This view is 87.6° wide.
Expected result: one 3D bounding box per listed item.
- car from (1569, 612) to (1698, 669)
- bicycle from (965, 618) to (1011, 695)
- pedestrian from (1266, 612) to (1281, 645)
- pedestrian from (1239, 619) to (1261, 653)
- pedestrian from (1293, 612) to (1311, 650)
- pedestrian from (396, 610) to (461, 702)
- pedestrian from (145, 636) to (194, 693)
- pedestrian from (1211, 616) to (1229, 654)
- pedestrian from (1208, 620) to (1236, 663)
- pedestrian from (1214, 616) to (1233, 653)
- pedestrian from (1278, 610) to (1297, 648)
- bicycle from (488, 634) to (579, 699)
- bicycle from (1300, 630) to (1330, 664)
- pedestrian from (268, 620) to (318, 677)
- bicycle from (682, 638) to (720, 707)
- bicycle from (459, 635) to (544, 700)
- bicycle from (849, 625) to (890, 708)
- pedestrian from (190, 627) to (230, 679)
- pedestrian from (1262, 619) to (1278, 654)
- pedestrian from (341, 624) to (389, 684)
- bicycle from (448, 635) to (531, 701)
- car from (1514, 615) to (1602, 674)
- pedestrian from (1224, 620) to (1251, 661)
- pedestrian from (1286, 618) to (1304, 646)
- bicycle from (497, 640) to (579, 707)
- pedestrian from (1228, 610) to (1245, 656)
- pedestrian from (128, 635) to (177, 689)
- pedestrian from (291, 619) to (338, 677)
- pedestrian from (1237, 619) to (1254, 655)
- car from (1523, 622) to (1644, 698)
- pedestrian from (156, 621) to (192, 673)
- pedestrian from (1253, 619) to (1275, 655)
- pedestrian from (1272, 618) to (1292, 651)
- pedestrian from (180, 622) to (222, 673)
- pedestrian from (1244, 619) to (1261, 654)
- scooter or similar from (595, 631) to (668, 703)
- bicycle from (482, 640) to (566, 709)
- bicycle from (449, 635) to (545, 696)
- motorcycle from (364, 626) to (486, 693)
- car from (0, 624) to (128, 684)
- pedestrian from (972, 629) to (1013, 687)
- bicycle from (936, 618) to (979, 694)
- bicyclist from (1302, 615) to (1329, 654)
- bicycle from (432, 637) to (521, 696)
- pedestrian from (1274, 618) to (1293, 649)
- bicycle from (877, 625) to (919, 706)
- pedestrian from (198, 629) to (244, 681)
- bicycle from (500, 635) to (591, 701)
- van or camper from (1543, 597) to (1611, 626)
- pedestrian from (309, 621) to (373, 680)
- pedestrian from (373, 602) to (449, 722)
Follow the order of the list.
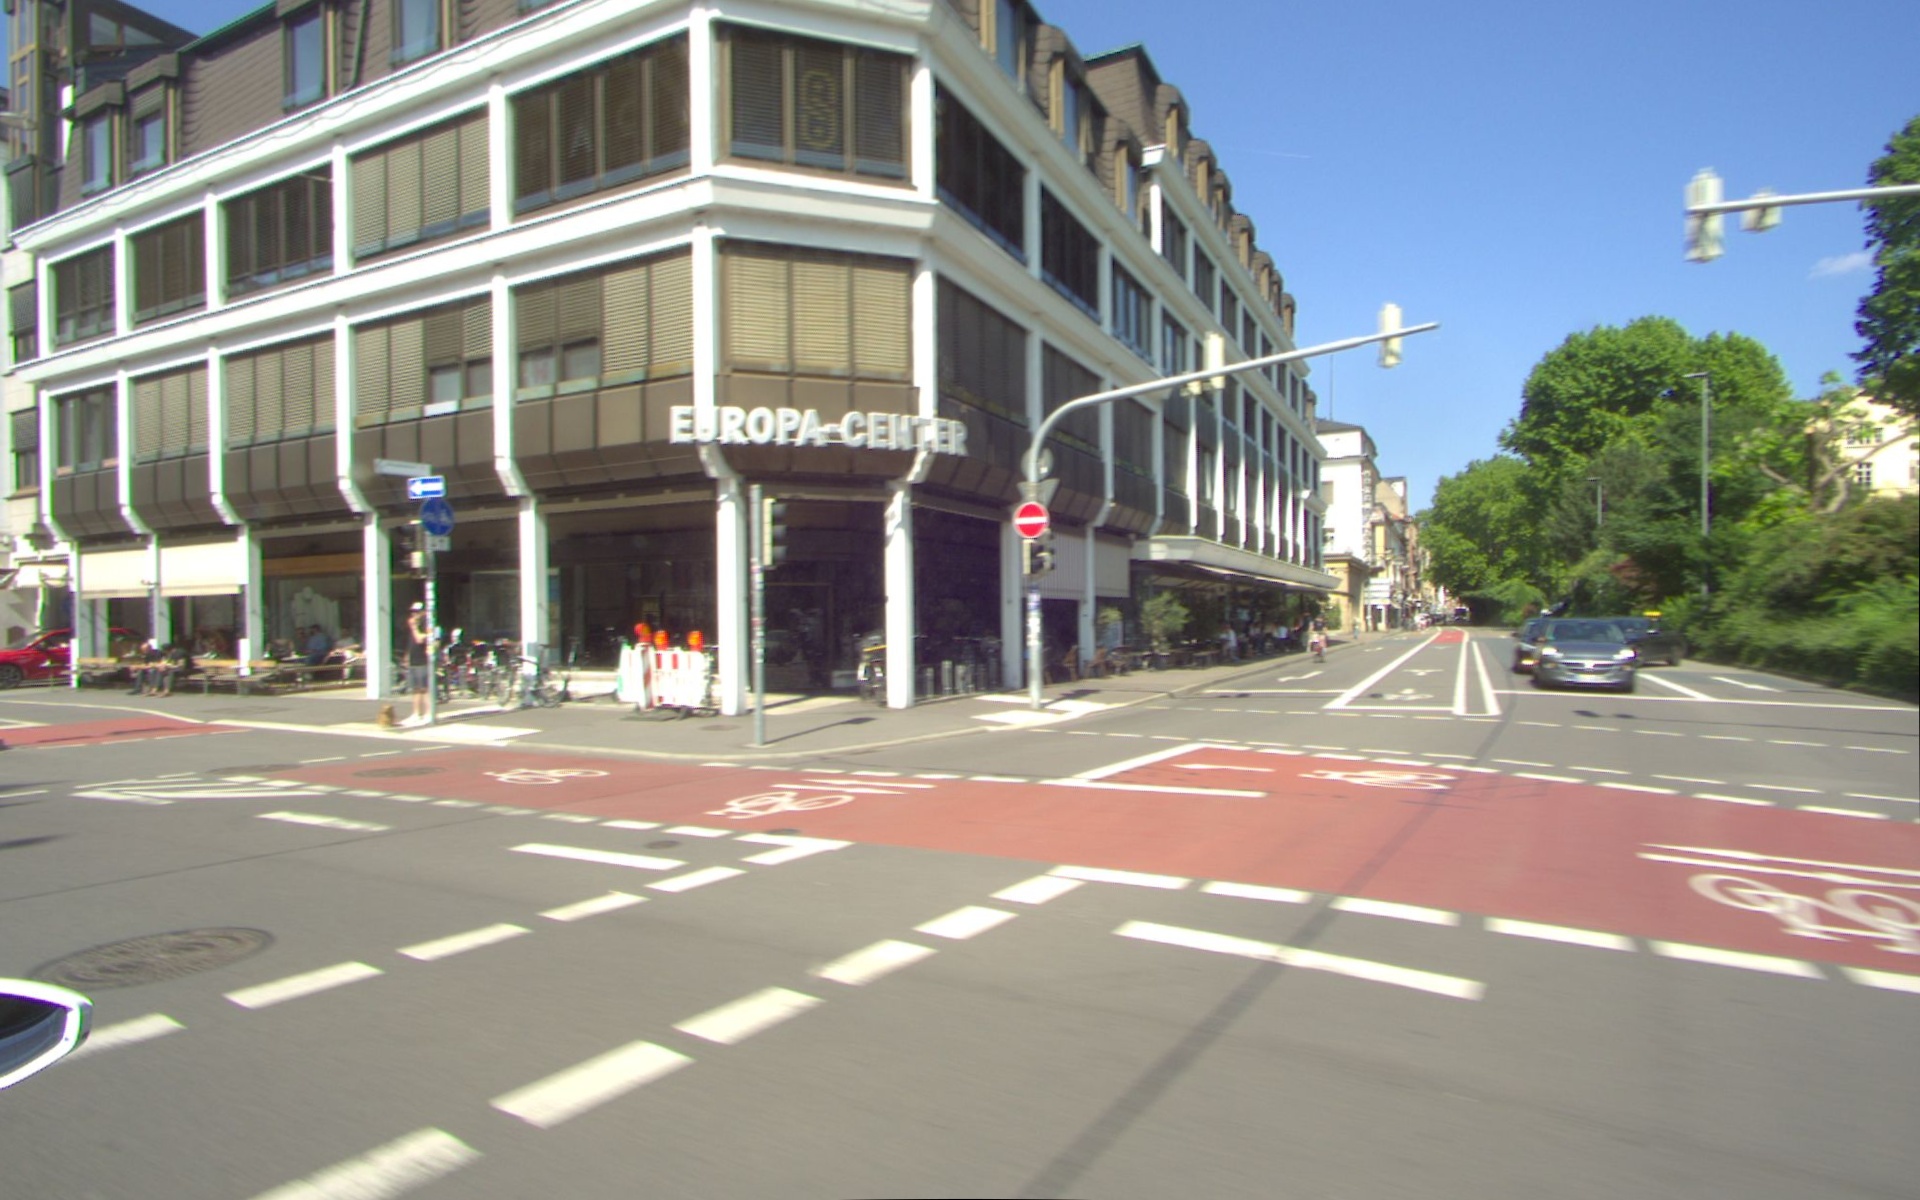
[{"bbox_3d":[20.376,1.201,30.237,4.694,1.604,2.047,1,-2,-40],"label":"car"},{"bbox_3d":[0.543,1.094,20.137,0.521,1.441,1.965,0,0,-11],"label":"bicycle"},{"bbox_3d":[15.756,1.436,50.341,0.611,1.667,0.714,-1,0,27],"label":"pedestrian"},{"bbox_3d":[12.228,1.521,42.236,0.746,1.411,0.714,-1,-1,27],"label":"pedestrian"},{"bbox_3d":[14.900,1.361,43.586,0.607,1.633,0.870,-1,-1,27],"label":"pedestrian"},{"bbox_3d":[-10.036,1.050,18.910,0.688,1.684,0.830,-2,-1,36],"label":"pedestrian"},{"bbox_3d":[-17.873,1.449,22.646,0.688,1.232,0.709,-2,-1,36],"label":"pedestrian"},{"bbox_3d":[9.760,1.291,37.570,0.564,1.411,0.567,-1,0,27],"label":"pedestrian"},{"bbox_3d":[8.757,1.385,33.453,0.746,1.411,0.925,-1,-1,27],"label":"pedestrian"},{"bbox_3d":[10.043,1.321,38.164,0.564,1.411,0.567,-1,0,27],"label":"pedestrian"},{"bbox_3d":[15.399,1.361,47.047,0.746,1.751,0.795,-1,0,27],"label":"pedestrian"},{"bbox_3d":[-8.210,1.261,19.333,0.274,1.135,1.712,0,1,34],"label":"bicycle"},{"bbox_3d":[12.651,1.646,35.643,0.752,1.135,2.115,-2,-1,26],"label":"bicycle"},{"bbox_3d":[-16.871,1.221,25.337,0.685,1.414,0.813,-2,-1,26],"label":"pedestrian"},{"bbox_3d":[-4.469,1.224,17.248,0.304,1.079,1.465,-2,1,-26],"label":"bicycle"},{"bbox_3d":[-8.812,1.283,19.303,0.274,1.135,1.566,0,1,34],"label":"bicycle"},{"bbox_3d":[-1.616,1.141,17.681,0.521,1.334,1.965,0,0,-11],"label":"bicycle"},{"bbox_3d":[-20.572,1.449,27.474,0.470,1.385,0.760,-1,0,27],"label":"pedestrian"},{"bbox_3d":[12.554,1.464,40.556,0.535,1.411,0.552,-1,0,27],"label":"pedestrian"},{"bbox_3d":[-14.273,1.293,24.033,0.686,1.414,0.711,-2,-1,27],"label":"pedestrian"},{"bbox_3d":[-9.129,1.293,19.479,0.274,1.222,1.541,0,-1,34],"label":"bicycle"},{"bbox_3d":[15.526,1.096,26.152,1.831,1.381,4.079,0,0,29],"label":"car"},{"bbox_3d":[9.706,1.400,35.048,0.746,1.411,0.925,-1,-1,27],"label":"pedestrian"},{"bbox_3d":[16.644,1.587,49.701,0.746,1.411,0.714,-1,-1,27],"label":"pedestrian"},{"bbox_3d":[-7.646,1.301,18.090,2.214,1.135,0.276,-1,0,36],"label":"bicycle"},{"bbox_3d":[10.937,1.306,39.587,0.577,1.780,0.484,-1,0,27],"label":"pedestrian"},{"bbox_3d":[-18.604,1.419,23.072,0.688,1.188,0.709,-2,-1,36],"label":"pedestrian"},{"bbox_3d":[-16.110,1.196,25.005,0.686,1.414,0.711,-2,-1,27],"label":"pedestrian"},{"bbox_3d":[11.474,1.492,40.241,0.564,1.411,0.567,-1,0,27],"label":"pedestrian"},{"bbox_3d":[12.950,1.171,21.007,1.830,1.381,4.081,0,0,28],"label":"car"},{"bbox_3d":[-21.390,1.281,27.254,0.678,1.385,0.535,-1,0,28],"label":"pedestrian"},{"bbox_3d":[12.117,1.458,39.912,0.746,1.411,0.714,-1,-1,27],"label":"pedestrian"},{"bbox_3d":[13.941,1.495,43.352,0.746,1.411,0.714,-1,-1,27],"label":"pedestrian"},{"bbox_3d":[-21.032,1.318,27.743,0.575,1.385,0.744,-1,0,27],"label":"pedestrian"},{"bbox_3d":[11.938,1.493,40.822,0.564,1.411,0.567,-1,0,27],"label":"pedestrian"},{"bbox_3d":[-5.970,1.203,18.249,0.473,1.248,1.243,-1,-1,34],"label":"scooter or similar"},{"bbox_3d":[-7.744,1.295,17.745,2.214,1.135,0.276,-1,0,36],"label":"bicycle"},{"bbox_3d":[-9.382,1.302,20.412,0.273,1.135,2.239,0,-1,20],"label":"bicycle"},{"bbox_3d":[-11.486,1.259,21.530,2.214,1.307,0.943,-1,-1,-34],"label":"motorcycle"},{"bbox_3d":[-25.092,1.465,26.725,1.815,1.513,4.040,-4,-2,29],"label":"car"},{"bbox_3d":[0.769,1.378,24.158,0.813,1.352,0.971,0,-1,-8],"label":"pedestrian"},{"bbox_3d":[-0.076,1.098,20.277,0.521,1.441,1.965,0,0,-11],"label":"bicycle"},{"bbox_3d":[12.667,1.224,35.718,0.770,1.325,0.940,-2,-1,26],"label":"bicyclist"},{"bbox_3d":[-9.934,1.335,20.669,0.272,1.111,2.241,0,-1,14],"label":"bicycle"},{"bbox_3d":[14.742,1.535,45.641,0.746,1.411,0.714,-1,-1,27],"label":"pedestrian"},{"bbox_3d":[-1.121,1.127,17.838,0.521,1.334,1.857,0,0,-11],"label":"bicycle"},{"bbox_3d":[-20.145,1.481,27.306,0.528,1.385,0.876,-1,-1,27],"label":"pedestrian"},{"bbox_3d":[-7.887,1.266,19.112,0.274,1.135,1.712,0,1,34],"label":"bicycle"},{"bbox_3d":[66.363,1.281,107.842,2.346,2.941,5.901,0,-2,-24],"label":"van or camper"},{"bbox_3d":[-15.118,1.229,24.463,1.088,1.368,0.895,-2,-1,27],"label":"pedestrian"},{"bbox_3d":[-8.786,0.977,16.041,0.688,1.859,0.830,-2,-1,36],"label":"pedestrian"}]
